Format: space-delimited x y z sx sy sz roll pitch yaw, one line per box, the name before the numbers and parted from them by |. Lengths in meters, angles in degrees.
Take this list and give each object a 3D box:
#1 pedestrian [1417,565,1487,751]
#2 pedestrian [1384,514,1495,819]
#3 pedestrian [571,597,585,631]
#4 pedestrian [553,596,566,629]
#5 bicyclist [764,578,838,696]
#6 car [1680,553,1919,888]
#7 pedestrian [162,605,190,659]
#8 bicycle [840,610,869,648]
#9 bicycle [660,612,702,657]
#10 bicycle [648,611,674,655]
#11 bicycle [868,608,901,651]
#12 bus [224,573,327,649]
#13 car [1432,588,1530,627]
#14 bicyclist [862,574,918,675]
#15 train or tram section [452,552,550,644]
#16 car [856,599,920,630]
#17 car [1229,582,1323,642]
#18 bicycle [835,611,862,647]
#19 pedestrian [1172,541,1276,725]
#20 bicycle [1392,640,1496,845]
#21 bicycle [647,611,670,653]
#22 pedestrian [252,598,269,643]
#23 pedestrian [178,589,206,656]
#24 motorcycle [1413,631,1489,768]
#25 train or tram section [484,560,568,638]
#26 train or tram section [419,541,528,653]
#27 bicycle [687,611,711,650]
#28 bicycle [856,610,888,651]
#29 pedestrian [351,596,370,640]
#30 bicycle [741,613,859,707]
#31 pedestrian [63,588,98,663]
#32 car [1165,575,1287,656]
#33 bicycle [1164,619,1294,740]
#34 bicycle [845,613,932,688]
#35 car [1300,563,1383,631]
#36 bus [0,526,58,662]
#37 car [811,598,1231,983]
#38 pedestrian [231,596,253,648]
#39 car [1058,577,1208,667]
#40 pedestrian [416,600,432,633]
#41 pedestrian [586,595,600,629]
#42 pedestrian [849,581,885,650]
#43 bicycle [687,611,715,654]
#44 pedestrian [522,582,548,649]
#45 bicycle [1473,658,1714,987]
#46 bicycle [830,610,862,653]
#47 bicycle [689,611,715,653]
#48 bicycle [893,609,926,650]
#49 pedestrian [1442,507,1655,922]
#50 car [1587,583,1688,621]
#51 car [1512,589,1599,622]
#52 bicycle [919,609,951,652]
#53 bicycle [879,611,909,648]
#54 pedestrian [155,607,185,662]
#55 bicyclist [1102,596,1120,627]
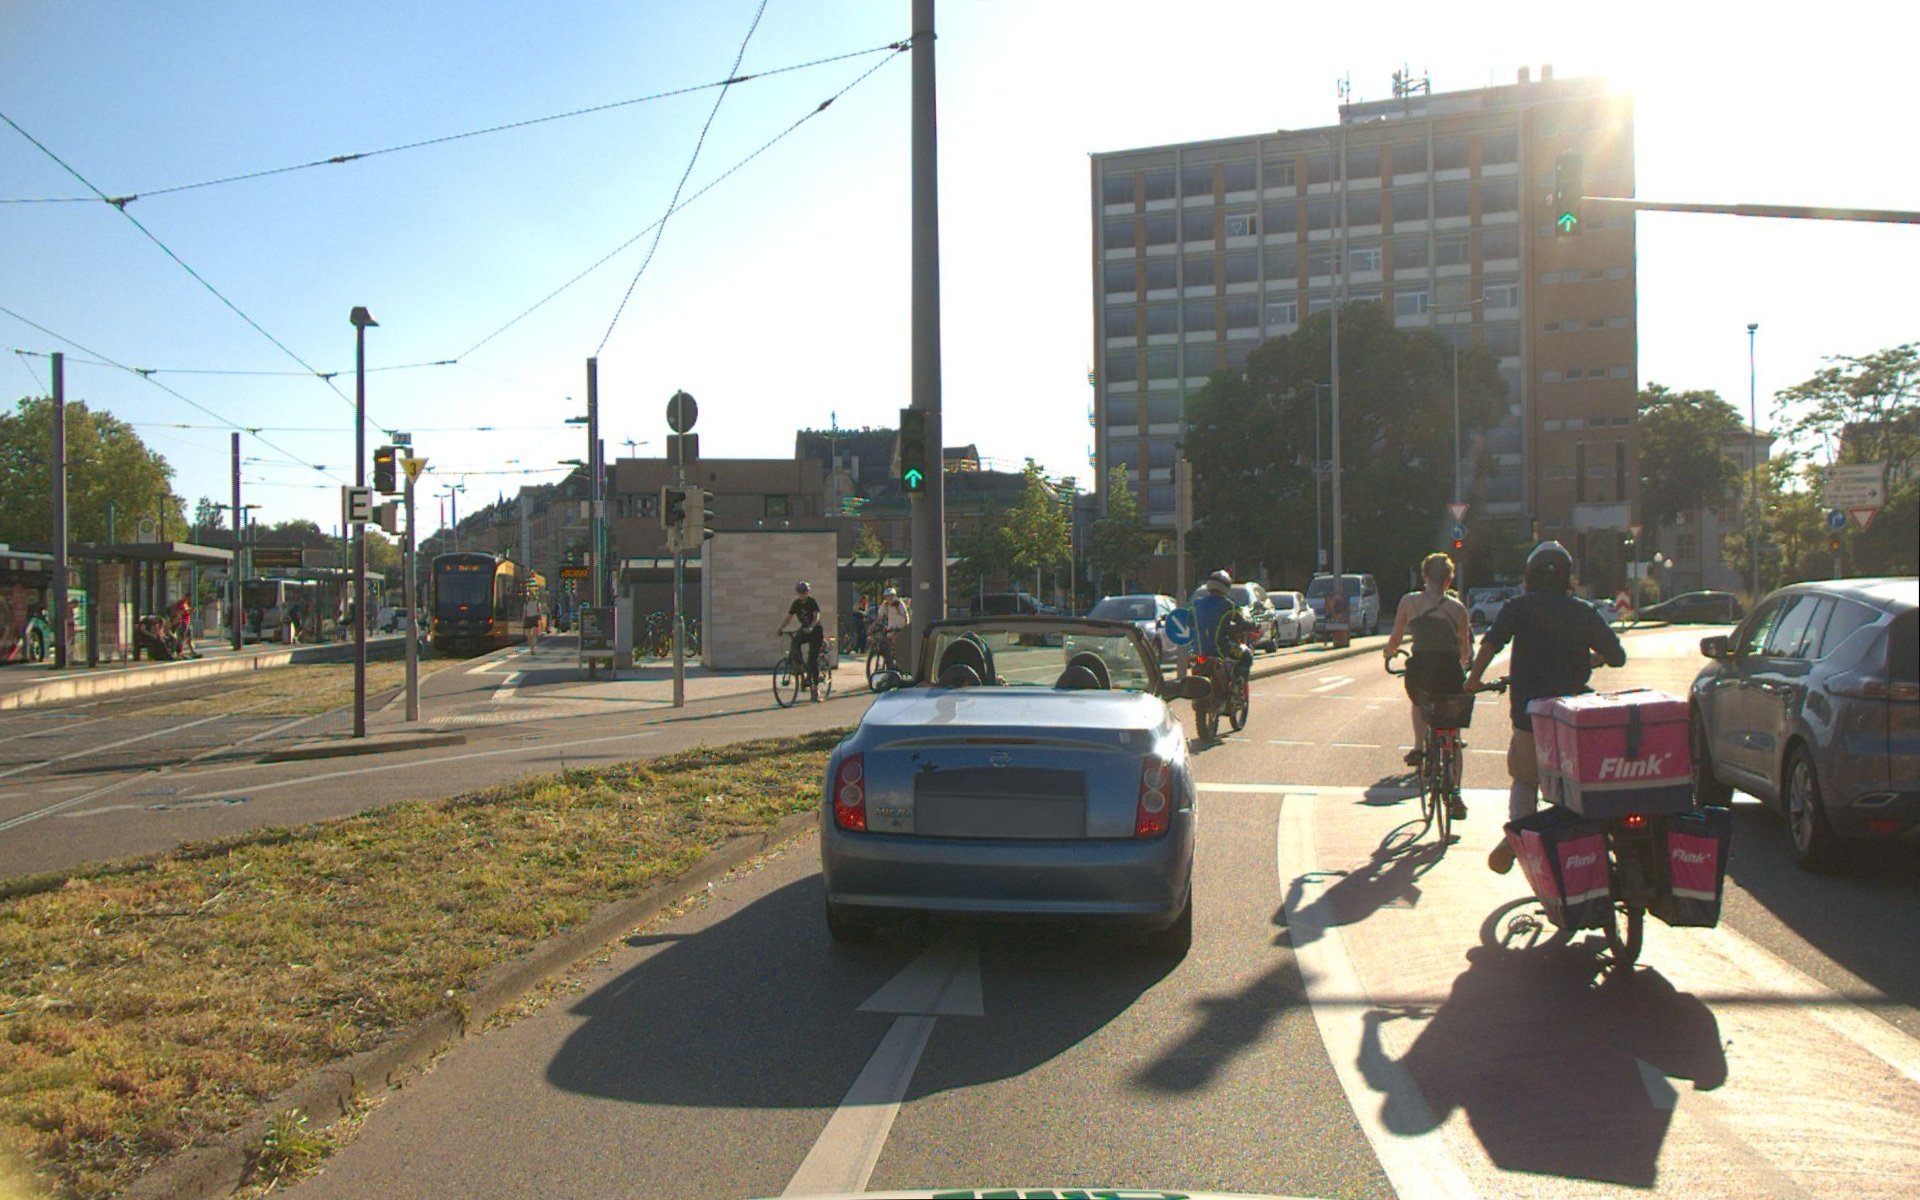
pedestrian | 4.481 0.508 15.081 0.575 1.626 1.025 1 -1 16
pedestrian | 3.123 0.414 10.823 0.645 1.901 0.873 1 -1 14
pedestrian | -20.048 0.716 86.860 0.628 1.779 0.732 -1 0 -19
pedestrian | -21.731 0.684 89.703 0.593 1.779 0.830 -1 0 -8
bicyclist | -2.364 0.544 24.677 0.694 1.686 0.901 -3 -1 21
car | 5.991 0.647 10.507 1.792 1.719 4.372 1 0 13
pedestrian | -20.220 0.818 42.671 0.561 1.369 0.637 -1 0 -17
bicycle | -3.256 0.901 51.113 0.596 1.134 1.891 1 0 -12
bicycle | -7.152 0.872 42.453 0.594 1.134 1.898 1 0 5
bicycle | -7.960 0.876 44.045 0.596 1.134 1.891 1 0 -12
bicycle | -2.077 0.799 45.327 0.596 1.134 1.891 1 0 -12
bus | -32.691 0.498 79.535 2.675 3.331 13.413 1 0 -14
car | 22.782 0.309 72.282 3.938 1.557 1.790 -2 0 -26
bicyclist | -1.190 0.414 28.178 0.694 1.686 0.743 -1 0 21
train or tram section | -19.931 -0.055 72.485 2.957 3.659 12.169 1 0 -10
car | -3.856 0.774 88.520 1.629 1.588 3.549 -1 0 -39
car | 8.856 0.301 46.148 1.661 1.588 3.977 -1 0 25
bicycle | -3.586 0.918 53.075 0.596 1.134 1.891 1 0 -12
pedestrian | 2.836 0.340 17.716 0.817 1.901 0.919 1 -1 29
bicycle | 3.115 0.864 10.758 0.552 1.171 1.951 1 0 14
bicycle | -8.390 0.878 45.964 0.596 1.134 1.891 1 0 -11
pedestrian | -27.912 0.821 66.024 0.562 1.779 0.636 -1 0 -20
pedestrian | -20.674 0.598 44.529 0.561 1.779 0.637 -1 0 -17
motorcycle | 4.482 0.859 15.105 0.600 1.117 2.361 1 0 17
train or tram section | -21.990 -0.035 84.381 2.984 3.659 12.024 1 0 -9
train or tram section | -17.604 -0.082 60.529 2.831 3.659 12.162 1 0 -12
bicycle | -7.943 0.912 50.314 0.596 1.134 1.891 1 0 -12
bicycle | -2.524 0.860 47.251 0.596 1.134 1.891 1 0 -12
pedestrian | -24.329 0.718 67.101 0.630 1.779 0.567 -1 0 -27
bicycle | -2.347 0.872 24.673 0.660 1.272 2.457 -3 -1 21
pedestrian | -20.923 0.605 39.355 0.527 1.779 0.559 -1 0 -6
car | 6.282 0.333 38.612 1.726 1.736 4.529 -2 -1 23
bicycle | 2.945 0.818 17.868 0.596 1.212 2.410 1 0 29
bicycle | -1.192 0.836 28.163 0.660 1.201 2.183 -1 0 21
car | 12.105 -0.085 52.332 1.869 1.979 4.707 -3 -1 21
bus | -23.532 -0.165 37.295 2.605 3.190 9.619 1 0 -10
car | 0.450 0.751 8.558 1.625 1.466 4.157 1 0 6
pedestrian | -24.964 0.771 57.493 0.630 1.779 0.567 -1 0 -27
car | 3.406 0.416 31.976 1.702 1.601 3.921 1 0 25
pedestrian | -29.458 0.893 90.923 0.720 1.779 0.639 -1 0 -8
pedestrian | -19.267 0.648 86.912 0.628 1.779 0.732 -1 0 -19
pedestrian | -2.624 0.436 46.549 0.885 1.901 0.685 1 -1 -13
bicycle | -6.956 0.861 44.391 0.596 1.134 1.891 1 0 -12
pedestrian | -11.529 0.415 44.848 0.628 1.779 0.569 -1 0 -19
bicycle | 2.827 0.903 7.605 0.542 1.192 2.374 1 0 9
bicycle | -3.129 0.840 45.170 0.596 1.134 1.891 1 0 -12
bicycle | -7.245 0.879 46.450 0.596 1.134 1.891 1 0 -12
bicycle | -1.461 0.848 47.655 0.596 1.134 1.891 1 0 -12
pedestrian | 2.859 0.527 8.133 0.789 1.901 0.957 1 -1 8
car | 30.762 0.089 75.153 3.902 1.557 1.806 -2 0 11
car | 29.980 0.294 83.283 3.910 1.601 1.734 1 0 27
bicycle | -0.697 0.824 45.649 0.595 1.134 1.892 1 0 -10
bicycle | -2.051 0.905 51.333 0.596 1.134 1.891 1 0 -12
pedestrian | -20.063 0.872 41.990 0.606 1.364 0.438 -1 0 -18
bicyclist | 7.982 0.628 87.328 0.737 1.626 0.588 1 -1 30
